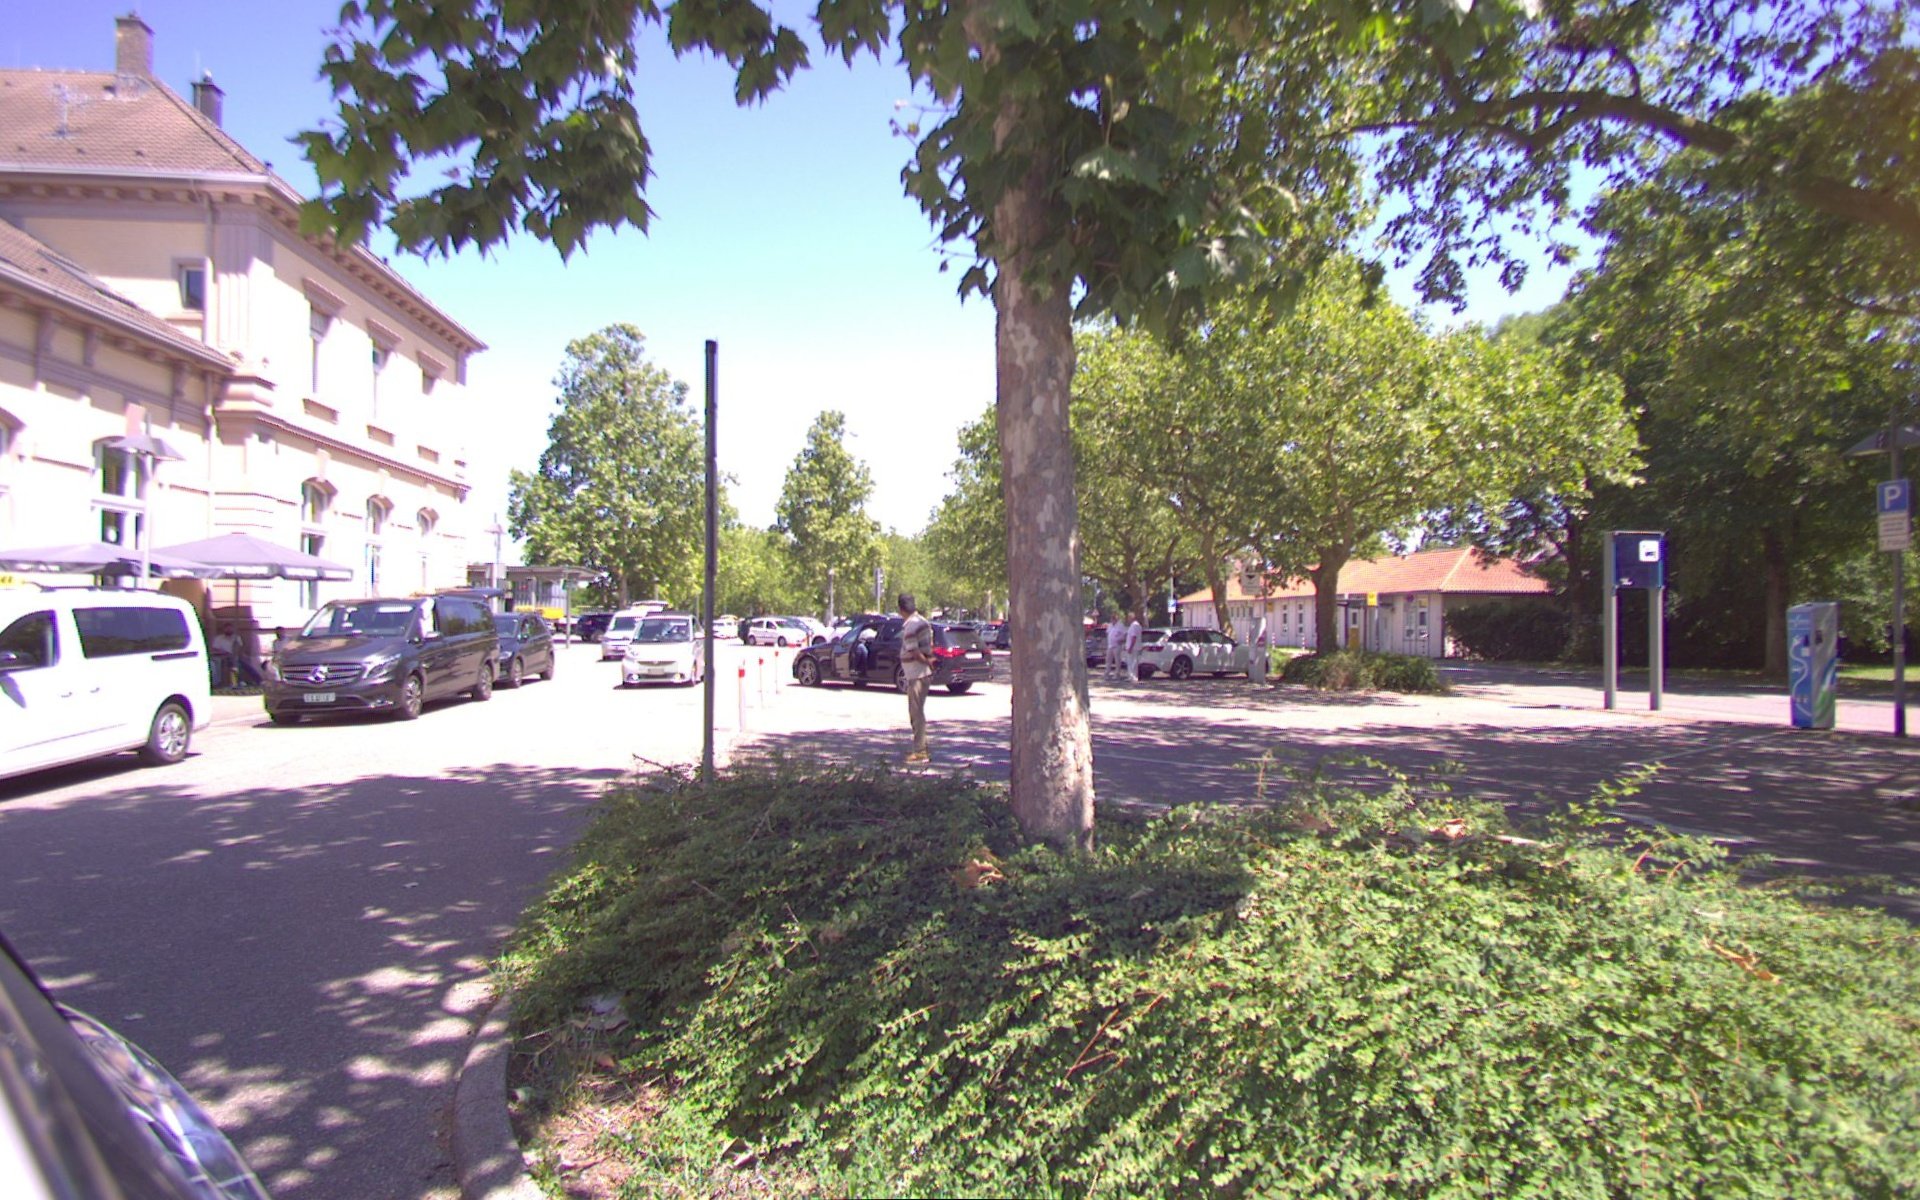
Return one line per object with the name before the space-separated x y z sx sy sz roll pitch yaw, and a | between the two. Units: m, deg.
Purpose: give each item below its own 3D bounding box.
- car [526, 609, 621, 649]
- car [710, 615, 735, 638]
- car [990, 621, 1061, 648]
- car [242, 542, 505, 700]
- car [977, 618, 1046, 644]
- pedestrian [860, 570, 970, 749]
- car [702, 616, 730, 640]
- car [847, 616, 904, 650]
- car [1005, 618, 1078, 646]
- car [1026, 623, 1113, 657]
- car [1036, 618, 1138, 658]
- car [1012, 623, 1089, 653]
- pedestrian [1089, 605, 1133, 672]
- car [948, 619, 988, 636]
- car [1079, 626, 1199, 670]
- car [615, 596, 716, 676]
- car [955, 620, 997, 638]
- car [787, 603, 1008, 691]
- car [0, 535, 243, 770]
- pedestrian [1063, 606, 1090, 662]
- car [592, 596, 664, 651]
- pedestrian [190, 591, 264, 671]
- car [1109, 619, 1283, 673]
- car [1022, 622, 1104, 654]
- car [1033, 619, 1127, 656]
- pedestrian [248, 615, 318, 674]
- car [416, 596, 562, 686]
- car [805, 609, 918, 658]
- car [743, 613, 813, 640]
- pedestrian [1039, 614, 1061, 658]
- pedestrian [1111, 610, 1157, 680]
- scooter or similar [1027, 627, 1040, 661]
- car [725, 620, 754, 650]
car | -22.498 1.674 59.075 4.886 2.136 2.055 -1 -1 -8
car | -20.618 2.275 88.071 2.018 1.854 4.977 -1 -1 -12
car | 3.739 1.964 57.159 3.812 1.471 1.640 1 -1 -35
car | -9.312 0.365 16.775 2.059 2.140 5.839 0 -2 -12
car | 3.040 1.789 59.396 3.812 1.471 1.640 1 -1 -35
pedestrian | -0.454 0.584 10.331 0.813 1.730 0.764 -1 -2 37
car | -19.622 2.247 81.472 2.018 1.854 4.977 -1 -1 -12
car | -4.855 1.853 57.652 1.709 1.908 4.012 1 -2 -30
car | 4.432 1.729 54.982 3.812 1.471 1.640 1 -1 -35
car | 5.011 1.819 46.120 3.812 1.471 1.640 1 -1 -35
car | 4.929 1.456 39.057 3.812 1.471 1.640 1 -1 -35
car | 4.659 1.915 51.876 3.812 1.471 1.640 1 -1 -35
pedestrian | 4.090 1.031 27.407 0.824 1.784 0.854 1 -1 -26
car | 0.671 2.275 84.293 3.108 1.405 1.469 1 -1 -12
car | 6.226 1.642 35.065 3.961 1.416 1.882 1 -2 -36
car | -6.310 0.751 21.966 1.577 1.605 3.111 1 -1 -6
car | 1.288 2.292 80.623 3.108 1.405 1.469 1 -1 -12
car | -1.375 0.879 21.013 4.523 1.554 1.778 1 1 37
car | -8.742 0.457 8.996 1.786 1.880 5.149 0 -2 -9
pedestrian | 3.304 0.948 28.710 0.580 1.560 0.612 2 -2 -11
car | -12.268 0.852 37.676 1.971 1.854 5.331 -1 -1 -12
pedestrian | -14.769 0.622 20.416 0.867 1.555 0.853 2 -2 -11
car | 6.673 1.256 28.531 4.695 1.427 1.792 1 -1 -26
car | 5.023 1.844 49.023 3.812 1.471 1.640 1 -1 -35
car | 5.067 1.567 42.635 3.812 1.471 1.640 1 -1 -35
pedestrian | -13.896 0.905 20.803 0.838 1.173 0.883 2 -2 -7
car | -10.748 0.914 23.496 2.046 1.854 4.852 0 -2 -12
car | -3.686 1.197 37.541 4.059 1.617 1.778 1 1 38
car | -9.873 1.450 54.870 3.504 1.414 1.783 -1 -2 34
pedestrian | 3.029 1.201 34.057 0.683 1.435 0.799 0 -1 9
pedestrian | 4.549 1.166 26.468 0.824 1.784 0.854 1 -1 -27
scooter or similar | 2.481 1.486 34.232 0.399 1.110 0.436 0 -1 10
car | -12.730 2.013 58.573 1.434 1.682 3.112 1 -1 -9
